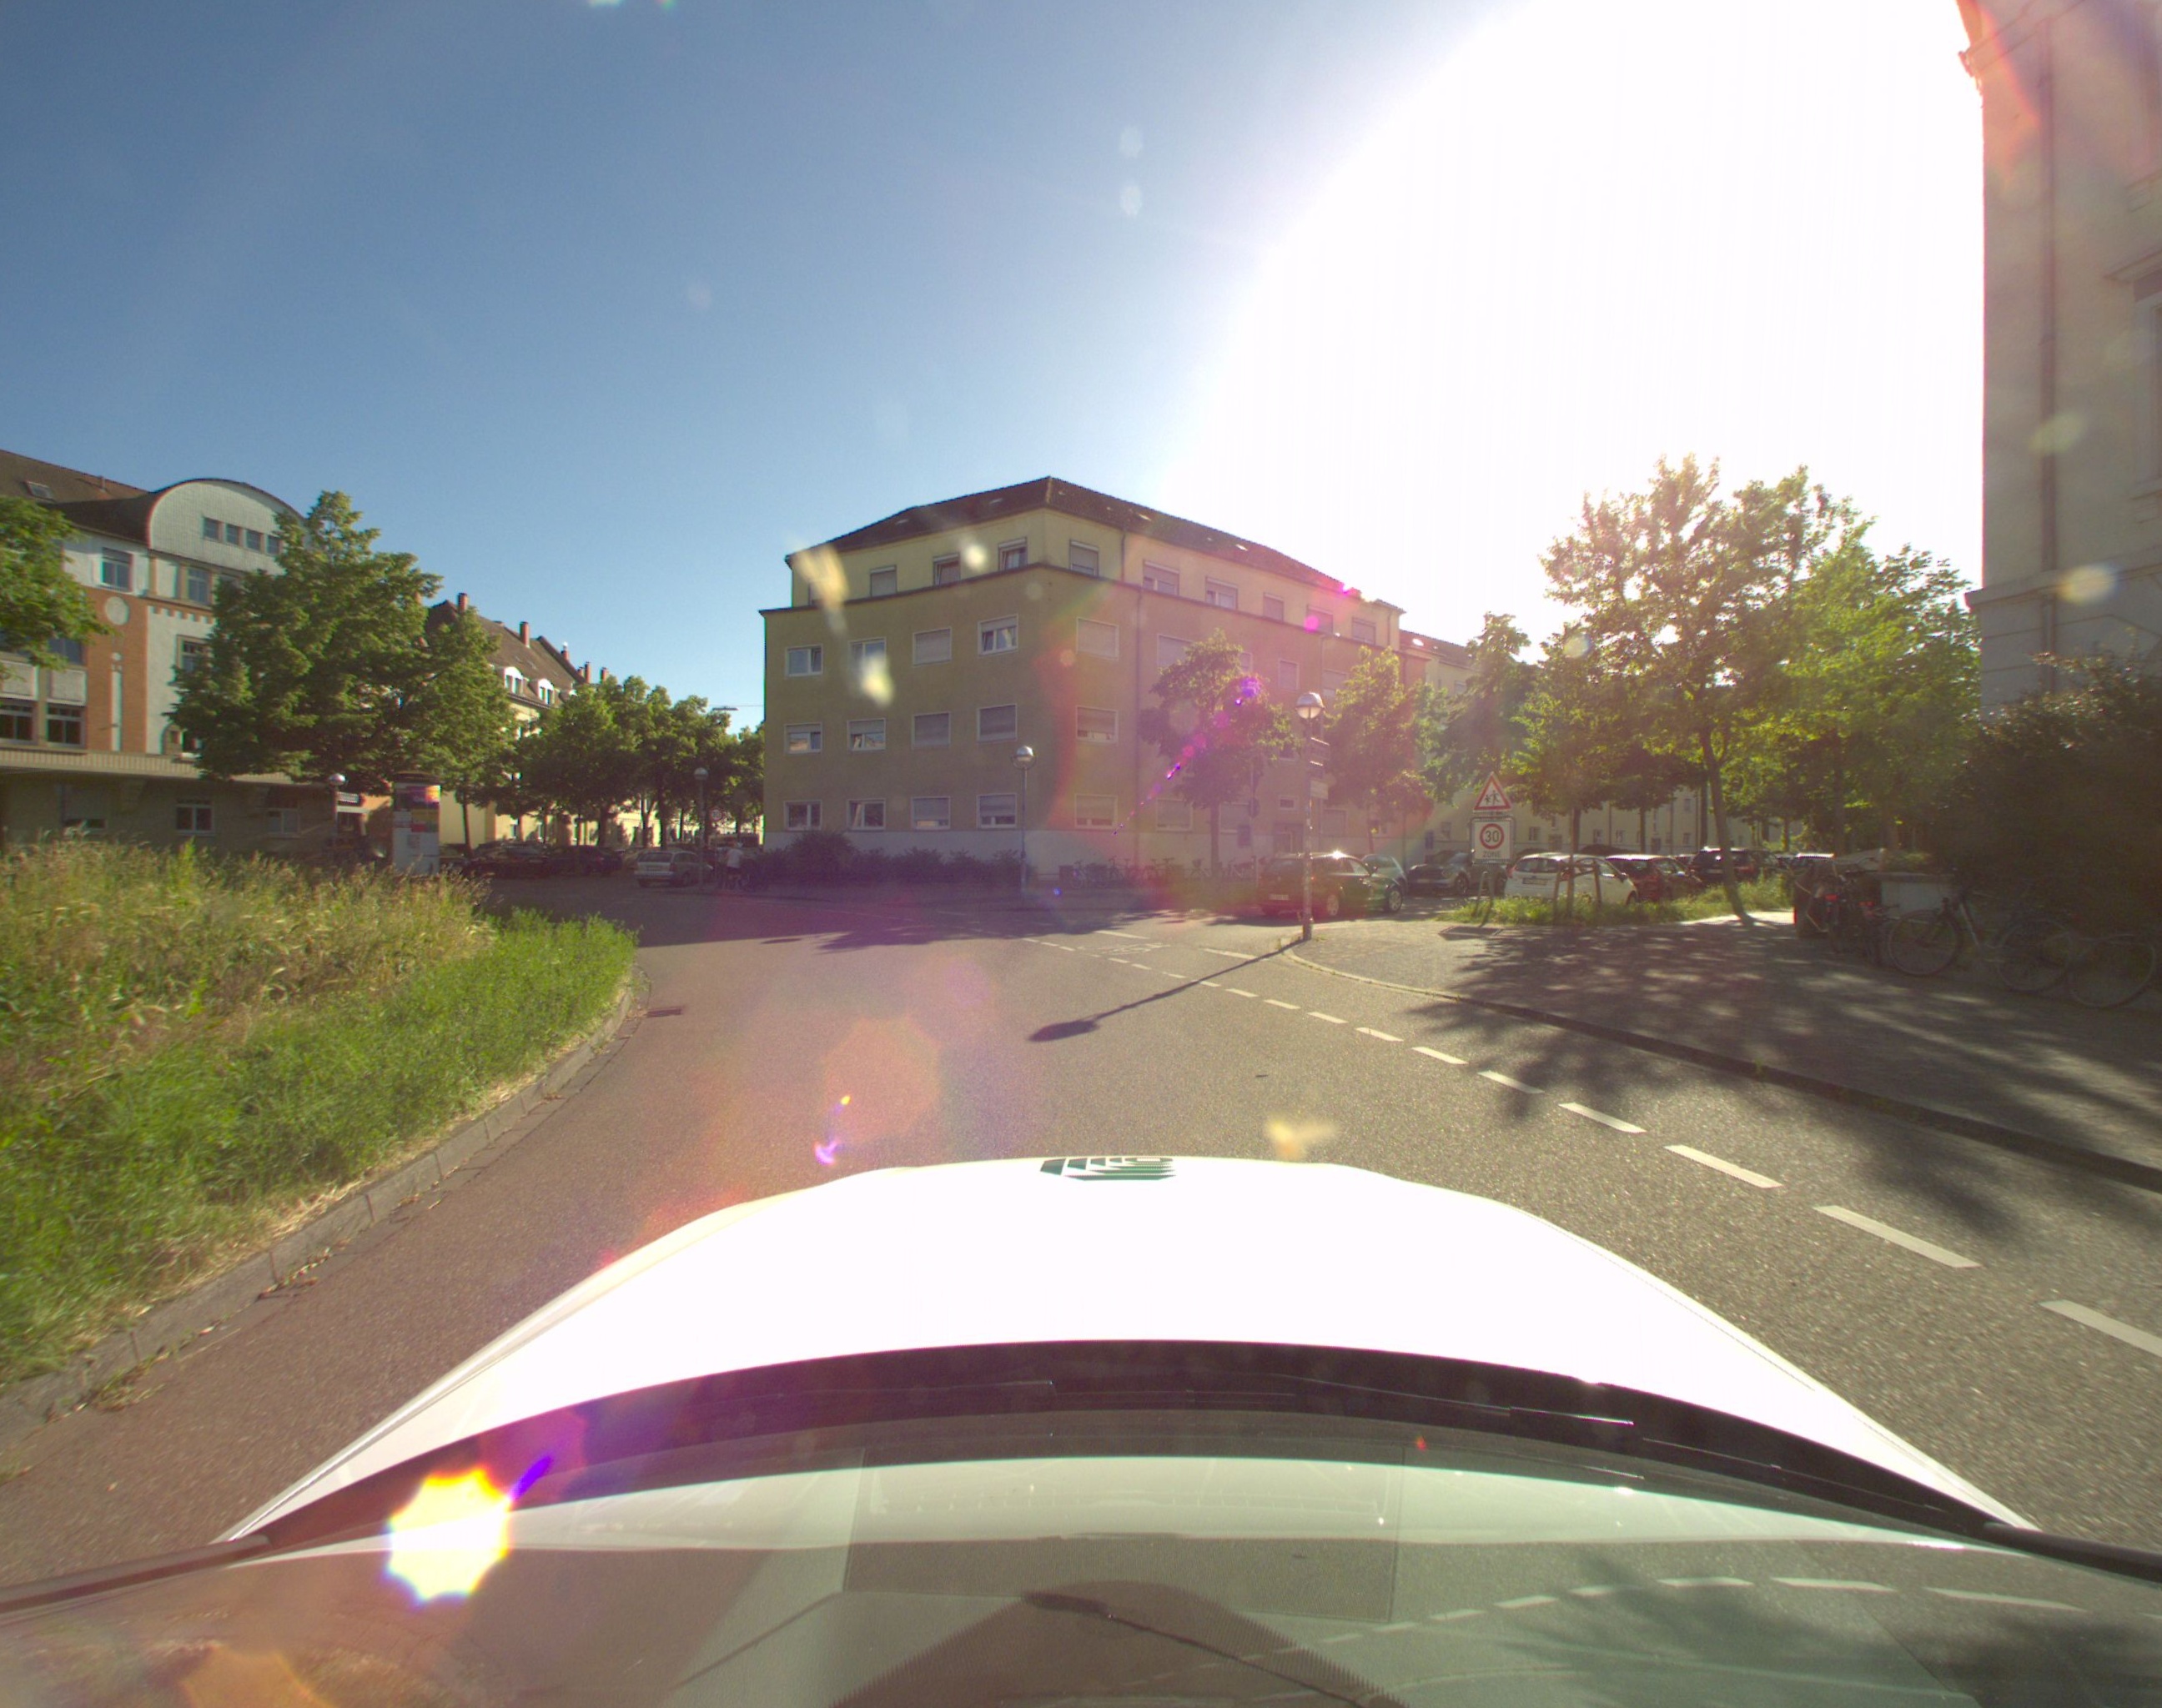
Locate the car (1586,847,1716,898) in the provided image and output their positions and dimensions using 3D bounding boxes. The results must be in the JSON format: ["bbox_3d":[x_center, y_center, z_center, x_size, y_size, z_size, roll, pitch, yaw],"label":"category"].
[{"bbox_3d":[15.406,0.472,21.948,3.735,1.255,1.780,0,-1,-37],"label":"car"}]

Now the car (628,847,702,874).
[{"bbox_3d":[-25.651,0.381,50.262,3.657,1.637,1.734,0,-1,3],"label":"car"}]

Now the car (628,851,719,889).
[{"bbox_3d":[-16.240,0.600,32.742,1.724,1.411,4.481,0,0,-5],"label":"car"}]

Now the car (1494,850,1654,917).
[{"bbox_3d":[11.675,0.633,19.225,4.017,1.413,1.781,0,0,-35],"label":"car"}]

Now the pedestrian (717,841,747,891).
[{"bbox_3d":[-10.999,0.367,25.695,0.647,1.523,0.696,-2,0,-6],"label":"pedestrian"}]

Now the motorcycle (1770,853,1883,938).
[{"bbox_3d":[11.262,0.602,12.301,1.496,1.191,0.879,-1,-2,-33],"label":"motorcycle"}]

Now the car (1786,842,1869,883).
[{"bbox_3d":[28.888,0.313,31.478,4.019,1.510,1.779,0,-1,-39],"label":"car"}]

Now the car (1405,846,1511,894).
[{"bbox_3d":[13.372,0.545,28.792,4.019,1.576,1.779,1,-1,-38],"label":"car"}]

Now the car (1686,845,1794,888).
[{"bbox_3d":[20.938,0.373,25.854,3.735,1.255,1.780,0,-1,-37],"label":"car"}]

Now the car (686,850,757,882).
[{"bbox_3d":[-16.702,0.538,38.068,1.727,1.439,4.379,0,0,-5],"label":"car"}]

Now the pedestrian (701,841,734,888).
[{"bbox_3d":[-12.215,0.343,27.374,0.823,1.523,0.695,-2,0,-9],"label":"pedestrian"}]

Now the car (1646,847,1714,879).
[{"bbox_3d":[30.649,0.472,41.638,4.019,1.576,1.779,1,-1,-38],"label":"car"}]

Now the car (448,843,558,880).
[{"bbox_3d":[-24.857,0.330,35.065,3.652,1.546,1.737,0,-1,8],"label":"car"}]

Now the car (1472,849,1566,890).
[{"bbox_3d":[17.052,0.567,31.642,4.019,1.510,1.779,0,-1,-39],"label":"car"}]

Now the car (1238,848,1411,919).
[{"bbox_3d":[5.578,0.597,18.440,4.021,1.419,1.849,0,0,-40],"label":"car"}]

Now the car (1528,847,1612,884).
[{"bbox_3d":[21.077,0.480,35.053,4.019,1.510,1.779,0,-1,-39],"label":"car"}]

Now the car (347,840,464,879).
[{"bbox_3d":[-27.578,0.208,33.306,3.649,1.546,1.738,0,-1,12],"label":"car"}]

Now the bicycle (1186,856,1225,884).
[{"bbox_3d":[4.722,0.599,30.838,1.451,1.026,0.496,0,0,-24],"label":"bicycle"}]

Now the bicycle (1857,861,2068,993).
[{"bbox_3d":[8.482,0.637,7.948,0.495,1.107,1.807,-1,0,15],"label":"bicycle"}]

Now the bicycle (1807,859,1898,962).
[{"bbox_3d":[9.435,0.637,10.014,0.494,1.107,1.963,-1,0,34],"label":"bicycle"}]

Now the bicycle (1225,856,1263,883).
[{"bbox_3d":[6.400,0.597,31.919,1.451,1.026,0.496,0,0,-24],"label":"bicycle"}]

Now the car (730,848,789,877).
[{"bbox_3d":[-17.026,0.429,43.275,1.727,1.439,4.379,0,0,-5],"label":"car"}]

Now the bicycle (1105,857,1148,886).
[{"bbox_3d":[1.600,0.605,28.668,1.442,1.026,0.499,0,0,-4],"label":"bicycle"}]

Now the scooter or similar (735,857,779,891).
[{"bbox_3d":[-10.186,0.611,25.626,0.908,1.023,0.903,-1,1,15],"label":"scooter or similar"}]

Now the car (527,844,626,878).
[{"bbox_3d":[-24.146,0.335,39.047,3.657,1.546,1.734,0,0,3],"label":"car"}]

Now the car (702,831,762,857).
[{"bbox_3d":[-27.019,-0.739,63.069,4.146,1.987,2.186,0,-1,29],"label":"car"}]

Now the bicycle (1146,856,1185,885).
[{"bbox_3d":[3.079,0.594,29.607,1.456,1.026,0.494,0,0,-37],"label":"bicycle"}]

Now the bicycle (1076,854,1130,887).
[{"bbox_3d":[0.751,0.563,27.879,1.790,1.107,0.499,0,0,-4],"label":"bicycle"}]

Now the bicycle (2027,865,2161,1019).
[{"bbox_3d":[8.207,0.655,6.037,0.495,1.107,1.804,-1,0,8],"label":"bicycle"}]

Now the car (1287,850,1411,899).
[{"bbox_3d":[8.355,0.609,25.259,4.019,1.411,1.783,0,-1,-39],"label":"car"}]
